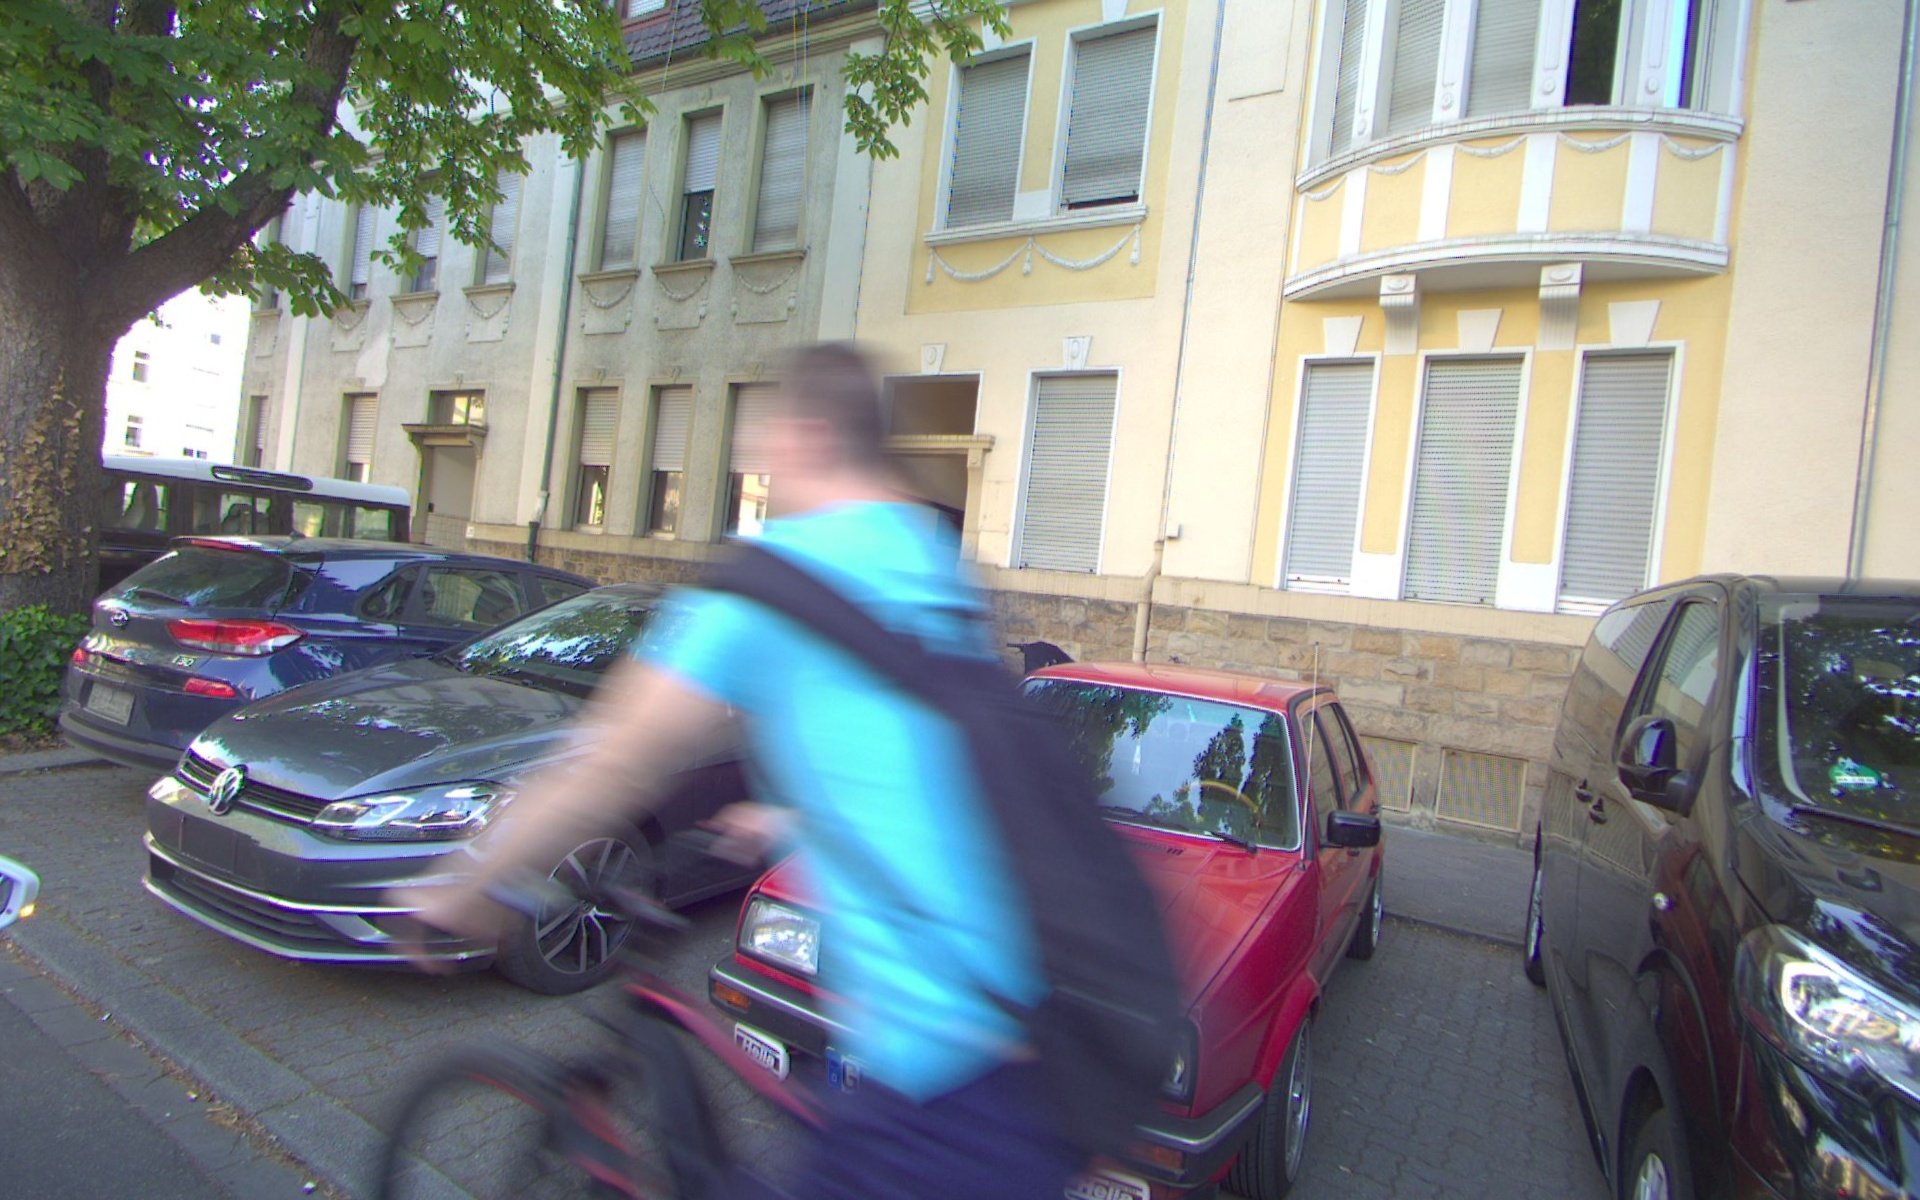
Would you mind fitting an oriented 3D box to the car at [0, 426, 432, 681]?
[{"bbox_3d":[-7.616,-0.381,9.313,1.762,1.981,4.496,7,1,29],"label":"car"}]

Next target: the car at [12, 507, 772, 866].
[{"bbox_3d":[-3.045,0.416,6.224,1.600,1.440,3.754,6,0,29],"label":"car"}]

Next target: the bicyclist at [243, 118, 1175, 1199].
[{"bbox_3d":[-0.327,0.499,1.290,0.817,1.795,0.648,6,-1,32],"label":"bicyclist"}]

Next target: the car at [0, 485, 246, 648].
[{"bbox_3d":[-10.107,-0.404,10.818,1.680,1.606,3.488,7,0,25],"label":"car"}]

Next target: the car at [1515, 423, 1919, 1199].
[{"bbox_3d":[2.882,0.898,2.947,1.848,1.847,4.829,6,0,27],"label":"car"}]

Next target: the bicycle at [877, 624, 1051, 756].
[{"bbox_3d":[0.023,0.892,10.339,1.675,1.090,0.500,7,2,32],"label":"bicycle"}]

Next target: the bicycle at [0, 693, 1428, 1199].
[{"bbox_3d":[-0.543,0.845,1.390,1.980,1.131,0.744,7,-1,32],"label":"bicycle"}]

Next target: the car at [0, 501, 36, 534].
[{"bbox_3d":[-36.138,-3.211,36.613,1.357,1.081,3.370,7,-1,30],"label":"car"}]

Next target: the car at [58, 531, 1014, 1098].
[{"bbox_3d":[-1.391,0.646,4.848,1.600,1.440,4.054,6,0,29],"label":"car"}]

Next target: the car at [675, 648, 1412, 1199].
[{"bbox_3d":[0.836,0.961,4.228,1.532,1.337,3.916,6,0,29],"label":"car"}]
